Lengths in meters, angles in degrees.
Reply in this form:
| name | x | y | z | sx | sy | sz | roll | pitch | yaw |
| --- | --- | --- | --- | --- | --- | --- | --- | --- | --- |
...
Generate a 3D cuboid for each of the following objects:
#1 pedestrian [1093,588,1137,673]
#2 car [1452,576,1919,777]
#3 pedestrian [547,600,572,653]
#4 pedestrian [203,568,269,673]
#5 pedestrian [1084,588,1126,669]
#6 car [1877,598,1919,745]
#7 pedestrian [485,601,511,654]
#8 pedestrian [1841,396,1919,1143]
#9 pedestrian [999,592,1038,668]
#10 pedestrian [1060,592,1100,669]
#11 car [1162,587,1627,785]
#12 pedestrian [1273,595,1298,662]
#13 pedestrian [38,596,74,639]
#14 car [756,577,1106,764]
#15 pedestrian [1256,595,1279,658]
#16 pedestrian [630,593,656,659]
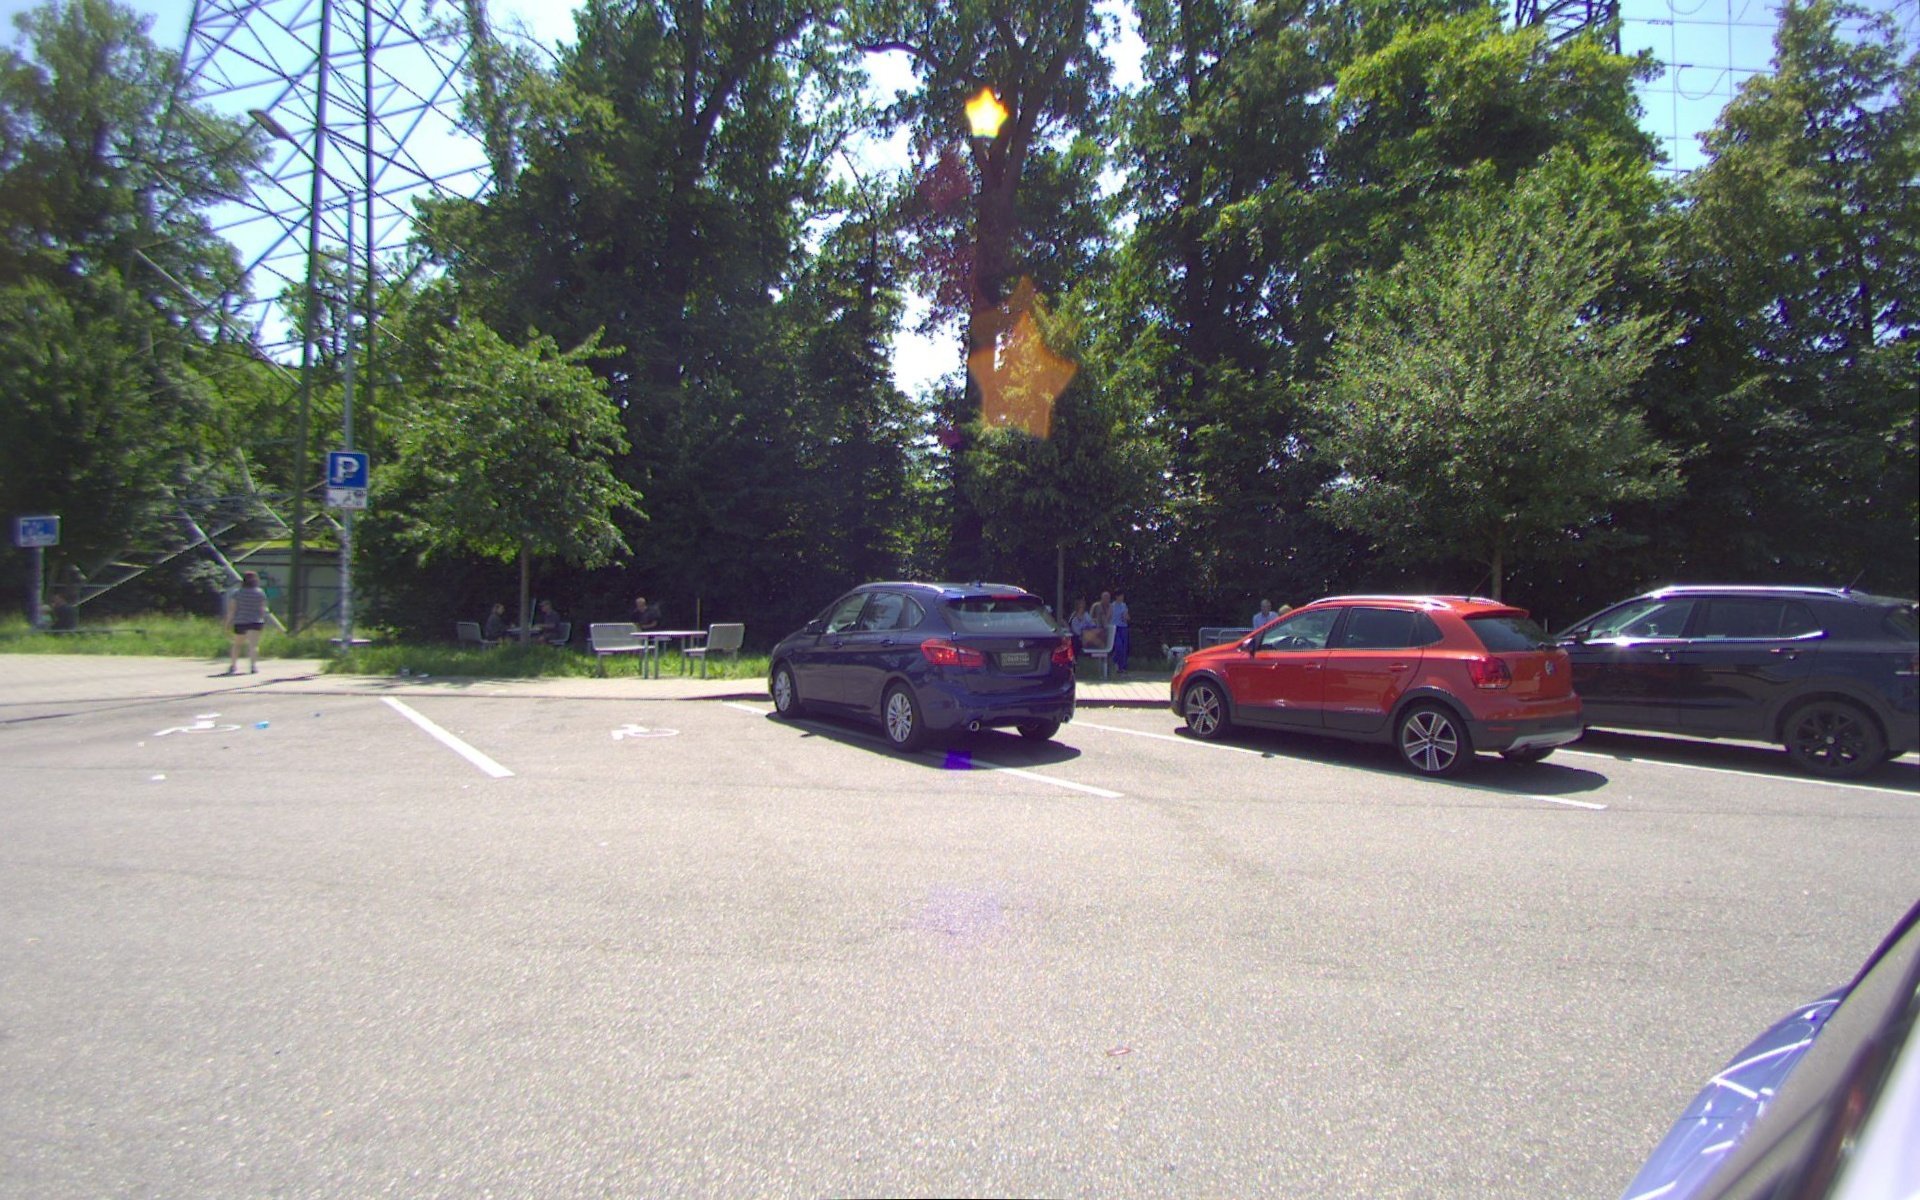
| name | x | y | z | sx | sy | sz | roll | pitch | yaw |
| --- | --- | --- | --- | --- | --- | --- | --- | --- | --- |
| pedestrian | 3.025 | 0.577 | 19.811 | 0.634 | 1.625 | 0.573 | 0 | 0 | -24 |
| car | 7.095 | 0.590 | 9.867 | 1.620 | 1.575 | 3.826 | 0 | 0 | -37 |
| pedestrian | -9.345 | 0.615 | 23.602 | 0.452 | 1.209 | 0.447 | 0 | 0 | -34 |
| pedestrian | -11.752 | 0.322 | 16.457 | 0.673 | 1.670 | 0.716 | 0 | 0 | -17 |
| pedestrian | 2.942 | 0.569 | 20.623 | 0.634 | 1.625 | 0.573 | 0 | 0 | -24 |
| car | 10.896 | 0.700 | 9.012 | 1.620 | 1.420 | 3.826 | 0 | 0 | -37 |
| pedestrian | -10.434 | 0.614 | 22.861 | 0.452 | 1.182 | 0.447 | 0 | 0 | -34 |
| pedestrian | 2.921 | 0.451 | 2.432 | 0.799 | 1.974 | 0.920 | 0 | 0 | 4 |
| pedestrian | 0.989 | 0.495 | 17.115 | 0.586 | 1.261 | 0.445 | 0 | 0 | 16 |
| pedestrian | 2.002 | 0.492 | 16.859 | 0.586 | 1.261 | 0.498 | 0 | 0 | 16 |
| car | 3.879 | 0.632 | 9.651 | 1.619 | 1.487 | 3.830 | 0 | 0 | -33 |
| pedestrian | 5.770 | 0.503 | 17.952 | 0.350 | 1.180 | 0.384 | 0 | 0 | 8 |
| pedestrian | -20.952 | 0.397 | 23.461 | 0.452 | 0.987 | 0.447 | 0 | 0 | -2 |
| car | -0.542 | 0.549 | 10.791 | 1.714 | 1.572 | 4.347 | 0 | 1 | -33 |
| pedestrian | 5.819 | 0.491 | 19.128 | 0.350 | 1.180 | 0.384 | 0 | 0 | 8 |
| pedestrian | -6.687 | 0.545 | 21.349 | 0.438 | 1.363 | 0.462 | 0 | 0 | -5 |
